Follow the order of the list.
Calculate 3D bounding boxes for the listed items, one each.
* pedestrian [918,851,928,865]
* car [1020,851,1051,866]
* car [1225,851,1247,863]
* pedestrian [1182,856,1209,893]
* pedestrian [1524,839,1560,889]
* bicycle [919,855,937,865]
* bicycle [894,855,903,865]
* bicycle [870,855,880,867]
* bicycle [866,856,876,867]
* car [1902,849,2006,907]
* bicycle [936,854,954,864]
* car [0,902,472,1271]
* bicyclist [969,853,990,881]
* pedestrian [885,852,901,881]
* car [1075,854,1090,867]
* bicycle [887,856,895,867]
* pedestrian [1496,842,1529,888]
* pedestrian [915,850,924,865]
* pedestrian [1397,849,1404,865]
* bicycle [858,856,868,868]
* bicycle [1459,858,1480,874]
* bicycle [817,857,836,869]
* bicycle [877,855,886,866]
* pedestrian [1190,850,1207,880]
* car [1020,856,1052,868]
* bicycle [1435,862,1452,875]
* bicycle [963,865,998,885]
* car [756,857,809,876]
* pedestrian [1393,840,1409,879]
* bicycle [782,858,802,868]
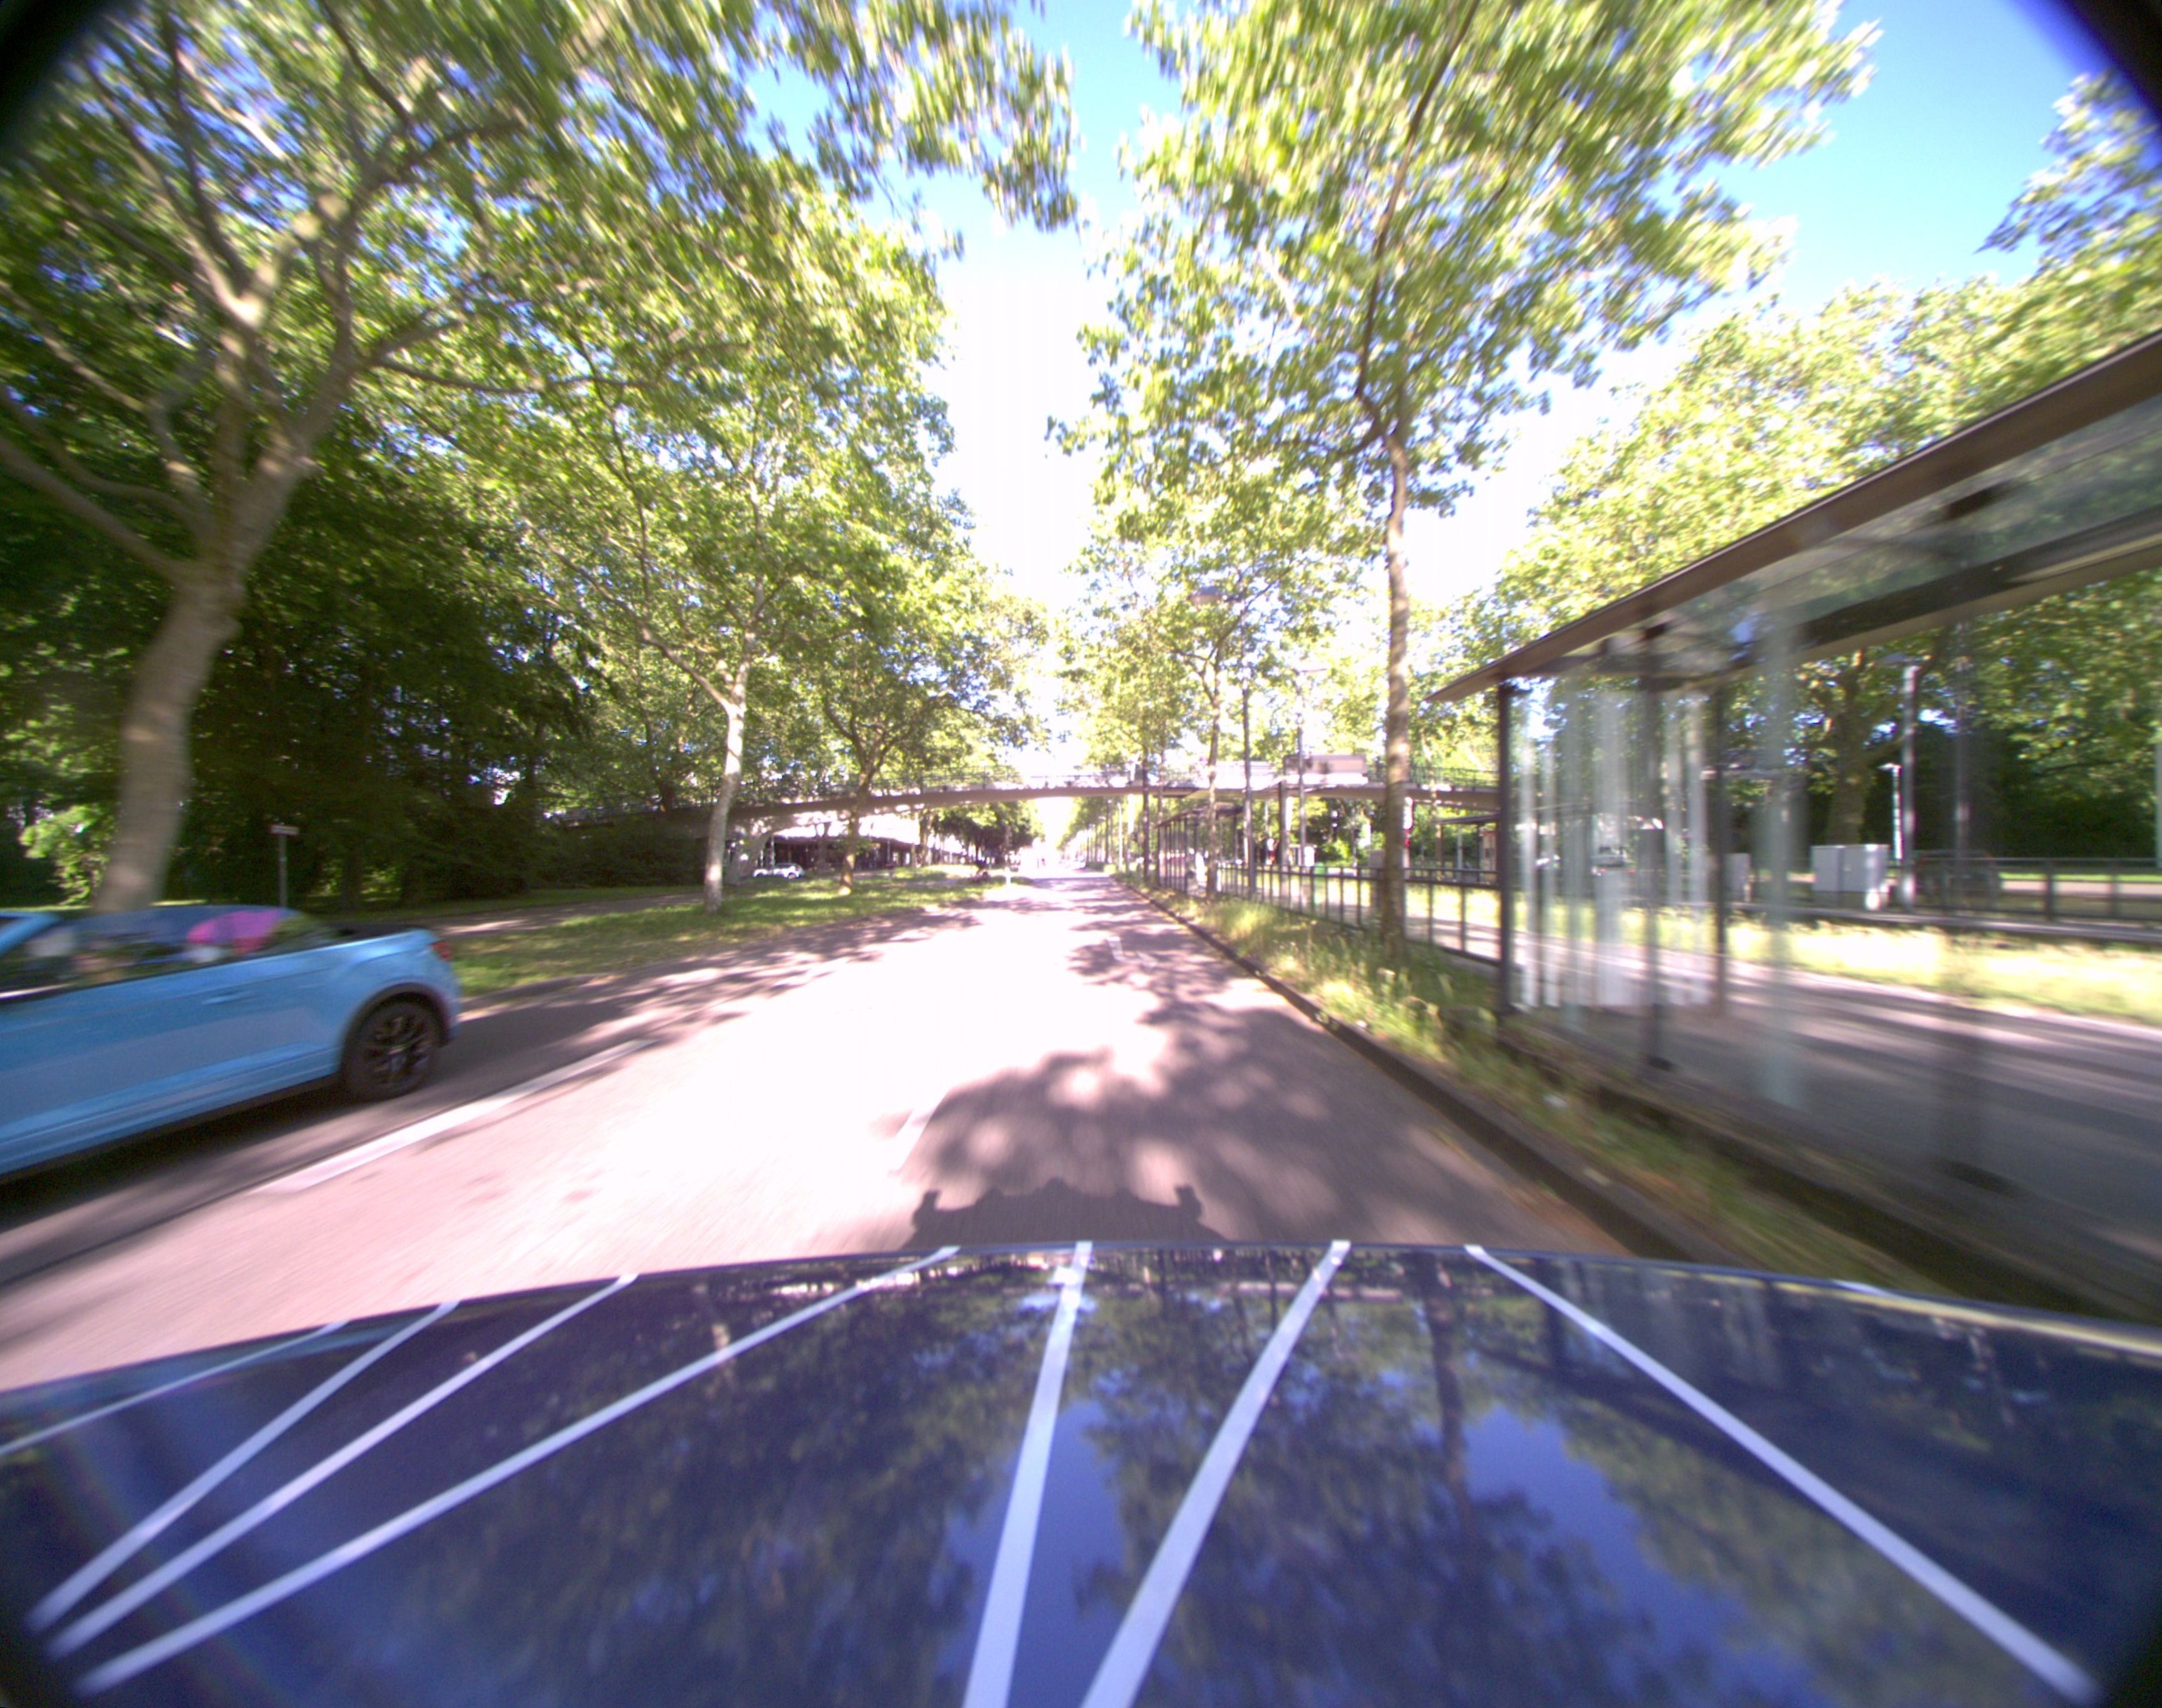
[{"bbox_3d":[-18.732,0.488,90.226,1.131,1.698,0.732,0,1,-9],"label":"pedestrian"},{"bbox_3d":[-5.966,0.604,99.596,1.763,1.832,3.960,1,0,44],"label":"car"},{"bbox_3d":[21.603,0.443,106.112,1.902,1.480,4.626,-4,1,-1],"label":"car"},{"bbox_3d":[3.933,0.697,26.156,0.736,1.245,0.587,-2,1,-5],"label":"pedestrian"},{"bbox_3d":[15.114,0.315,24.930,0.731,1.625,0.715,0,1,-2],"label":"pedestrian"},{"bbox_3d":[-18.259,0.758,90.603,2.069,1.151,0.562,1,0,14],"label":"bicycle"},{"bbox_3d":[-22.195,0.735,92.420,0.577,1.246,1.805,-2,1,-2],"label":"bicycle"},{"bbox_3d":[-23.250,0.795,85.803,0.577,1.246,1.805,-2,1,-2],"label":"bicycle"},{"bbox_3d":[-23.118,0.808,83.729,0.577,1.246,1.805,-2,1,-2],"label":"bicycle"},{"bbox_3d":[25.048,0.648,21.762,4.208,1.420,1.696,-2,-1,-38],"label":"car"},{"bbox_3d":[-16.058,0.594,89.406,2.074,1.151,0.561,1,0,-11],"label":"bicycle"},{"bbox_3d":[-5.686,1.134,3.859,1.780,1.475,4.100,-1,0,1],"label":"car"},{"bbox_3d":[-6.001,0.792,44.931,0.954,1.622,0.816,1,0,21],"label":"bicyclist"},{"bbox_3d":[-11.853,0.783,47.969,0.658,1.766,0.741,-1,-1,37],"label":"pedestrian"},{"bbox_3d":[0.211,0.851,102.613,1.897,1.623,4.502,-2,0,2],"label":"car"},{"bbox_3d":[-21.878,0.876,87.515,0.577,1.246,1.805,-2,1,-2],"label":"bicycle"},{"bbox_3d":[14.418,0.373,25.389,0.644,1.505,0.683,1,1,-12],"label":"pedestrian"},{"bbox_3d":[-19.793,0.463,93.125,0.967,1.829,0.952,0,1,-9],"label":"pedestrian"},{"bbox_3d":[30.325,0.298,72.027,0.534,1.483,0.588,-2,1,25],"label":"pedestrian"},{"bbox_3d":[-22.860,0.830,79.738,0.577,1.246,1.805,-2,1,-2],"label":"bicycle"},{"bbox_3d":[24.305,0.752,47.508,0.435,1.003,1.686,-2,0,0],"label":"bicycle"},{"bbox_3d":[-26.092,0.916,77.942,1.806,1.109,0.710,0,2,-8],"label":"bicycle"},{"bbox_3d":[-23.722,0.729,90.308,0.577,1.246,1.805,-2,1,-2],"label":"bicycle"},{"bbox_3d":[6.710,0.640,43.524,0.727,1.664,1.048,-2,1,-3],"label":"pedestrian"},{"bbox_3d":[-5.632,0.983,95.337,3.838,1.464,1.514,1,0,-44],"label":"car"},{"bbox_3d":[22.873,0.918,47.951,0.435,0.774,1.174,-2,0,0],"label":"bicycle"},{"bbox_3d":[-5.950,1.213,44.930,1.833,1.140,0.816,1,0,20],"label":"bicycle"},{"bbox_3d":[-24.911,1.060,63.503,3.739,1.486,1.709,-1,-2,-3],"label":"car"},{"bbox_3d":[14.582,0.238,34.620,0.504,1.760,0.483,-3,1,-40],"label":"pedestrian"},{"bbox_3d":[-29.510,0.959,77.592,1.806,0.949,0.710,2,0,-8],"label":"bicycle"}]
